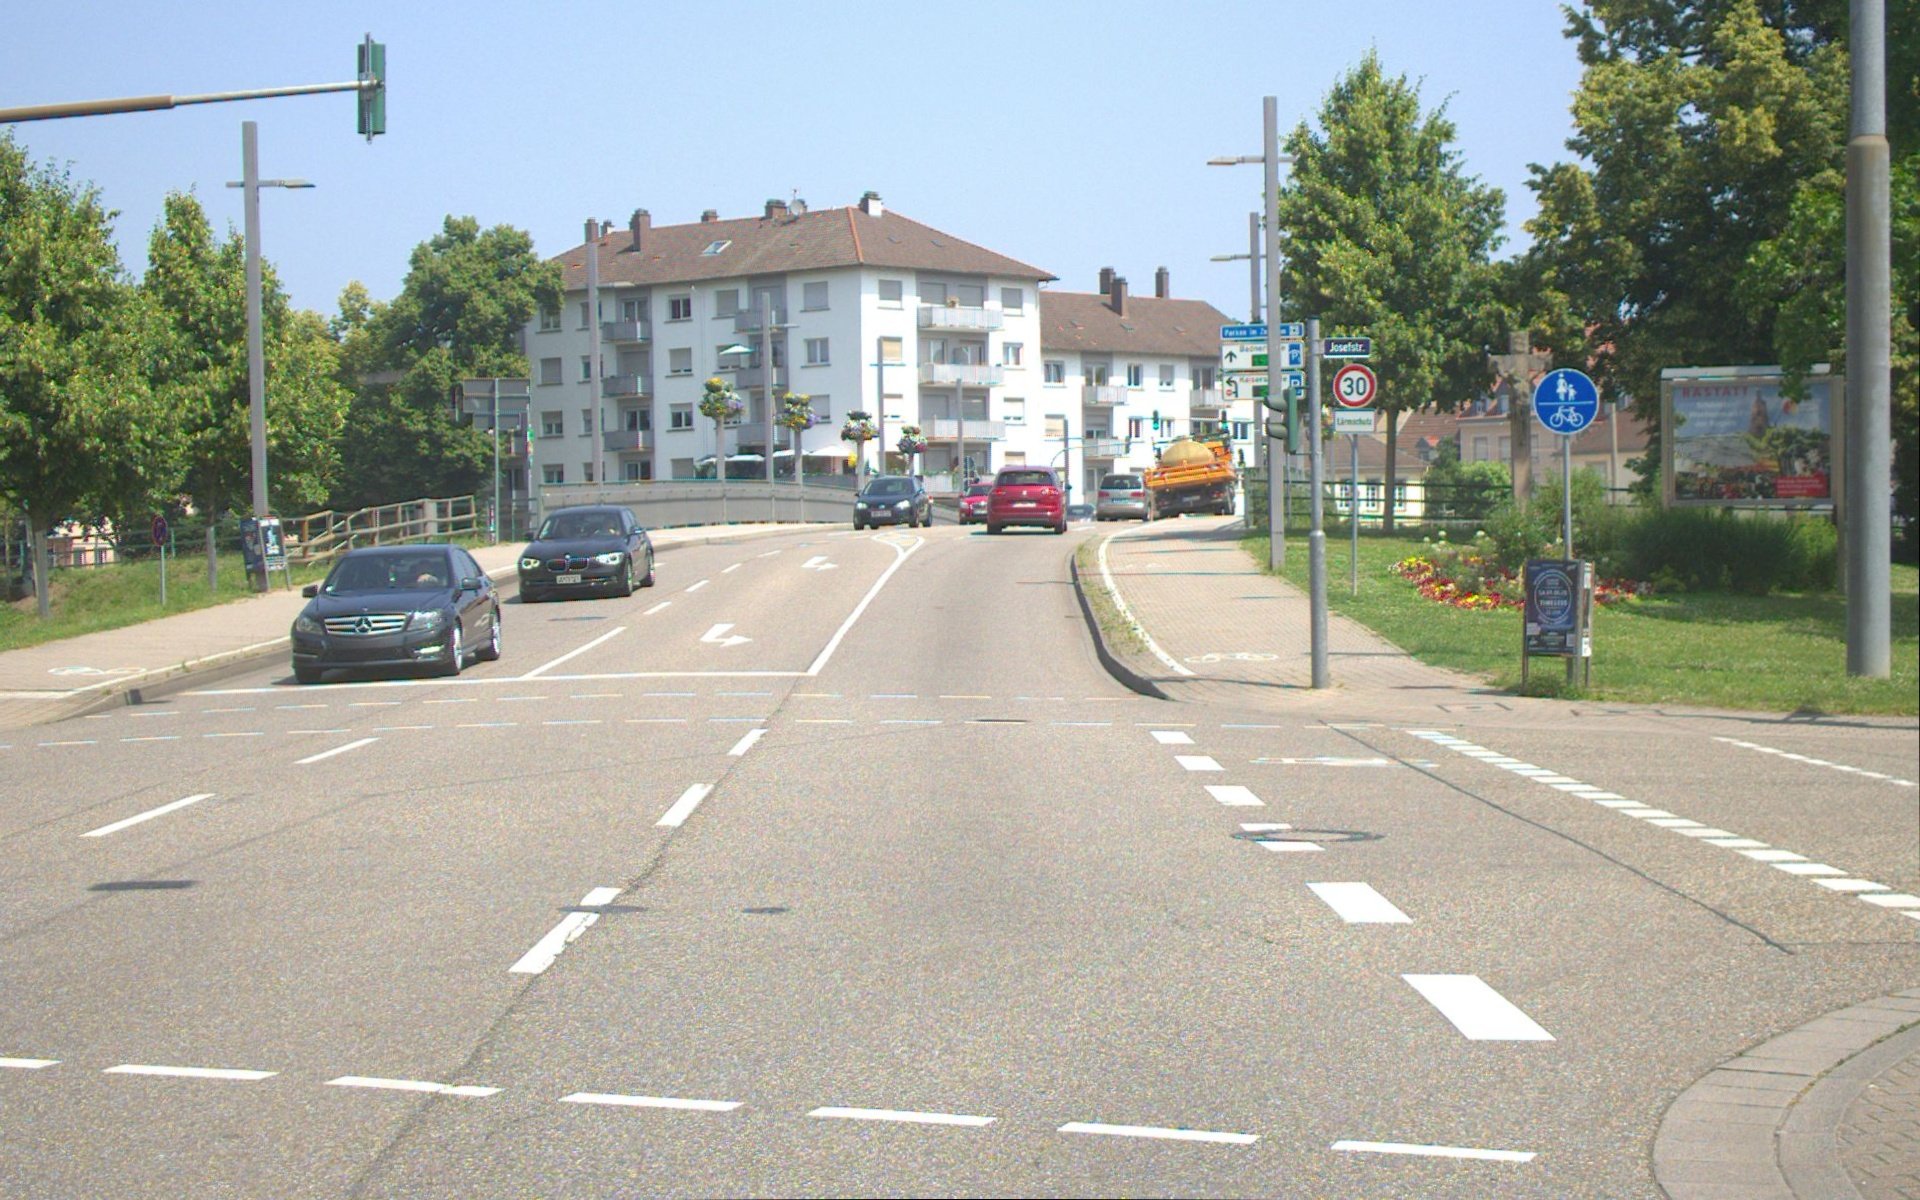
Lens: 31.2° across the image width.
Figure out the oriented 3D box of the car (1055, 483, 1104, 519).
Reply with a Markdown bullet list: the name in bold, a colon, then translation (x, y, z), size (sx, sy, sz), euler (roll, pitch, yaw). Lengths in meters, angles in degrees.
- **car**: translation (5.145, -4.234, 147.651), size (1.714, 1.480, 4.030), euler (1, 1, 7)

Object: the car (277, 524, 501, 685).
- **car**: translation (-6.314, 0.004, 38.442), size (1.755, 1.555, 4.318), euler (-2, 2, 0)

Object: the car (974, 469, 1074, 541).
- **car**: translation (1.545, -2.264, 81.954), size (1.990, 1.607, 4.342), euler (-1, 1, 6)

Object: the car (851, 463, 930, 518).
- **car**: translation (-1.937, -3.076, 96.696), size (1.714, 1.480, 4.030), euler (1, 1, 6)

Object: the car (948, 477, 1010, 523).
- **car**: translation (0.666, -3.380, 116.306), size (1.647, 1.459, 3.860), euler (0, 0, 7)

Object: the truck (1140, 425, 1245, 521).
- **truck**: translation (6.860, -3.708, 100.698), size (2.606, 2.682, 5.822), euler (-1, 2, 8)

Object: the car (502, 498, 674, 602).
- **car**: translation (-5.991, -0.837, 55.772), size (1.837, 1.394, 4.049), euler (-4, 3, 7)

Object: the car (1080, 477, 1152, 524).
- **car**: translation (5.231, -3.302, 114.809), size (2.038, 1.498, 4.416), euler (1, 1, 7)
